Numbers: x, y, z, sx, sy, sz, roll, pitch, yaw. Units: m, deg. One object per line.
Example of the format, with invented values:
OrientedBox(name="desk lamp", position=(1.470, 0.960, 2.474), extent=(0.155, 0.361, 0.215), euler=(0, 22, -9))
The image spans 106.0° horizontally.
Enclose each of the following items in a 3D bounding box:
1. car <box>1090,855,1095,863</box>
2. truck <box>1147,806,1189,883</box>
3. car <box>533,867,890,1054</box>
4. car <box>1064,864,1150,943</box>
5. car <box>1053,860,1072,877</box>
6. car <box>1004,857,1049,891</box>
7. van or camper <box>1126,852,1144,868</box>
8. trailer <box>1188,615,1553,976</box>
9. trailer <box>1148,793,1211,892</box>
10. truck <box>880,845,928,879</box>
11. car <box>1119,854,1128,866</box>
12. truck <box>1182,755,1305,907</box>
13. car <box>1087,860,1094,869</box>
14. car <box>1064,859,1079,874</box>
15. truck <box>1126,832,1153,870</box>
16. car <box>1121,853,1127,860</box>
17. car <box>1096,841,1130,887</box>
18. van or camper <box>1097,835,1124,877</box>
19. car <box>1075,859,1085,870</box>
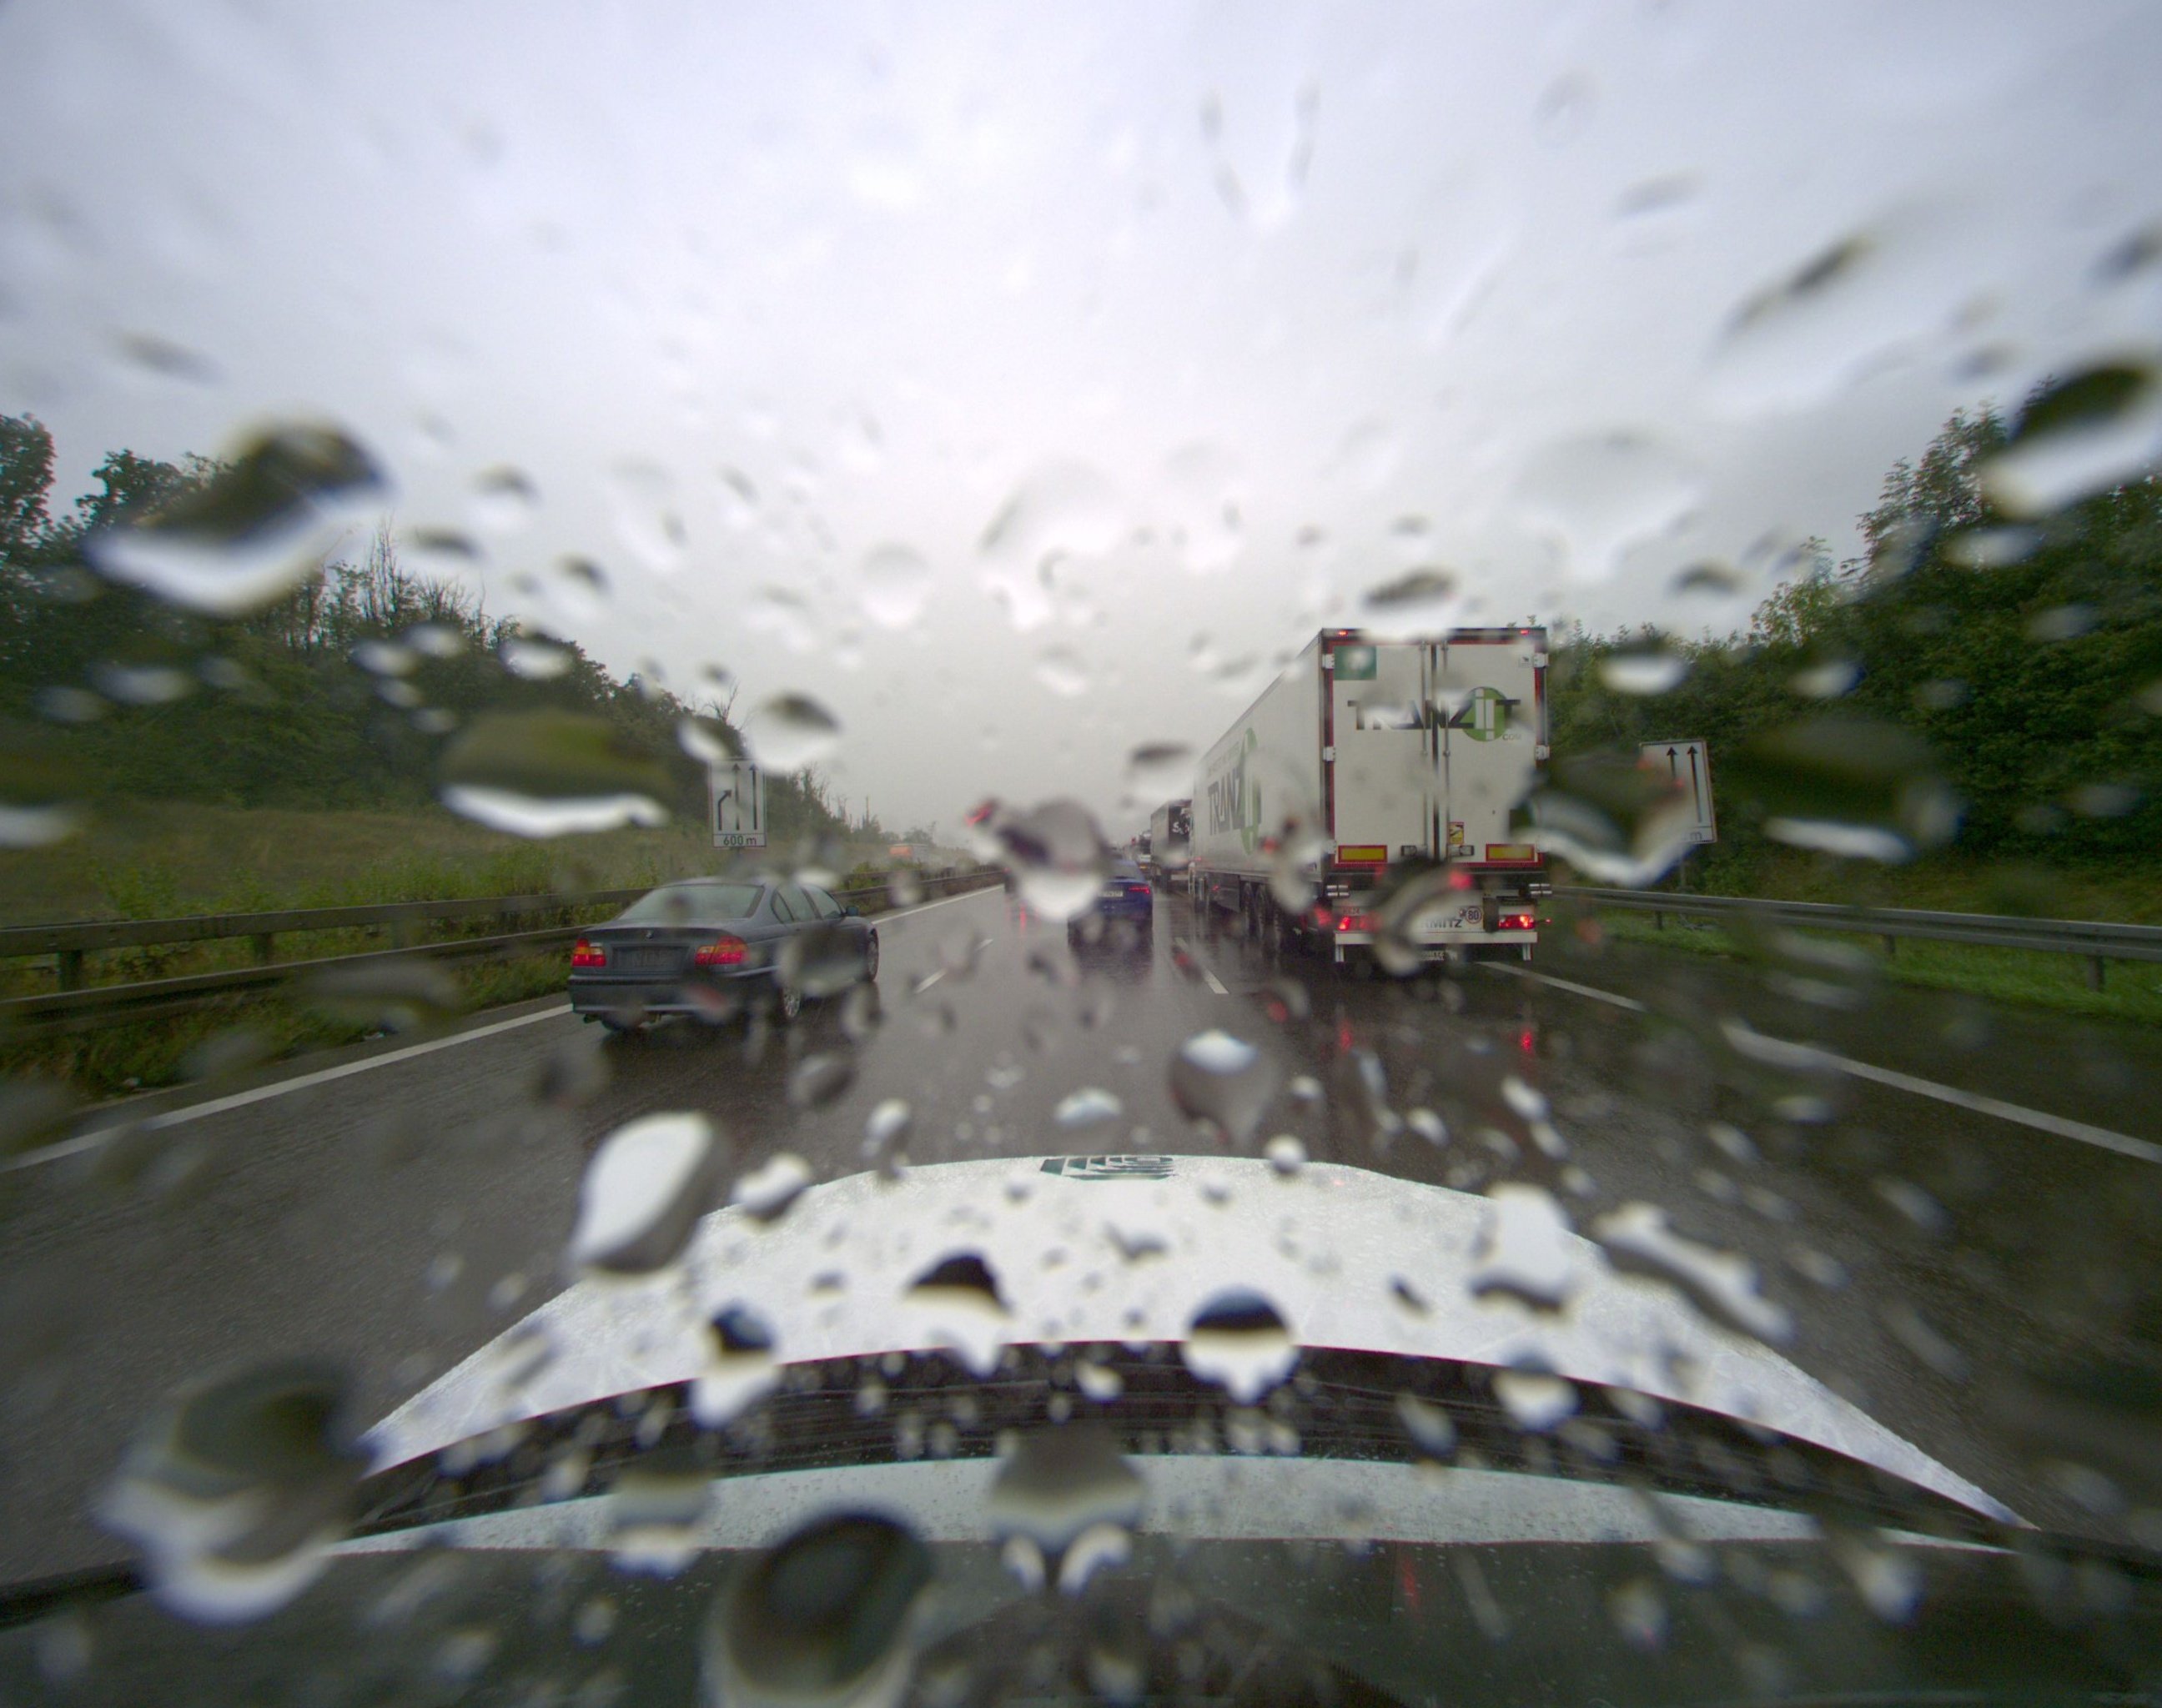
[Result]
OrientedBox(name="car", position=(2.664, 1.183, 187.089), extent=(1.188, 1.750, 3.077), euler=(-1, 0, 2))
OrientedBox(name="truck", position=(4.923, -0.538, 46.800), extent=(2.039, 4.193, 4.002), euler=(-1, 0, 2))
OrientedBox(name="car", position=(-3.462, 0.891, 8.648), extent=(1.711, 1.400, 4.232), euler=(-1, 0, 2))
OrientedBox(name="car", position=(0.590, 0.985, 17.685), extent=(1.629, 1.445, 4.003), euler=(-1, 0, 3))
OrientedBox(name="car", position=(-1.624, 1.274, 71.321), extent=(1.434, 1.420, 3.323), euler=(-1, 0, 2))
OrientedBox(name="car", position=(-2.634, 0.935, 40.141), extent=(1.714, 1.523, 4.003), euler=(-1, 0, 3))
OrientedBox(name="van or camper", position=(5.746, 0.603, 87.261), extent=(1.765, 1.625, 4.486), euler=(-1, 0, 2))
OrientedBox(name="trailer", position=(4.217, -0.680, 16.500), extent=(2.620, 4.013, 14.636), euler=(-1, 0, 2))
OrientedBox(name="trailer", position=(4.675, -0.490, 40.425), extent=(2.039, 4.176, 11.453), euler=(-1, 0, 2))
OrientedBox(name="truck", position=(-18.641, 0.757, 86.494), extent=(2.915, 3.281, 9.256), euler=(-1, 0, 1))
OrientedBox(name="car", position=(6.726, 0.922, 128.899), extent=(1.443, 1.784, 3.411), euler=(-1, 0, 2))
OrientedBox(name="truck", position=(4.455, -0.602, 23.241), extent=(2.620, 3.827, 4.793), euler=(-1, 0, 2))
OrientedBox(name="car", position=(1.984, 2.127, 166.534), extent=(1.443, 1.784, 3.411), euler=(-1, 0, 2))
OrientedBox(name="car", position=(-1.006, 1.309, 88.336), extent=(1.434, 1.533, 3.323), euler=(-1, 0, 2))
OrientedBox(name="truck", position=(5.497, -0.331, 77.472), extent=(1.987, 3.421, 8.033), euler=(-1, 0, 1))
OrientedBox(name="car", position=(11.617, 0.763, 220.857), extent=(1.443, 1.784, 3.411), euler=(-1, 0, 2))
OrientedBox(name="car", position=(1.333, 0.396, 34.201), extent=(1.331, 1.780, 3.323), euler=(-1, 0, 2))
OrientedBox(name="van or camper", position=(2.144, 0.131, 58.749), extent=(1.790, 2.806, 4.770), euler=(-1, 0, 2))
OrientedBox(name="car", position=(-0.147, 1.694, 131.300), extent=(1.443, 1.784, 3.411), euler=(-1, 0, 2))
